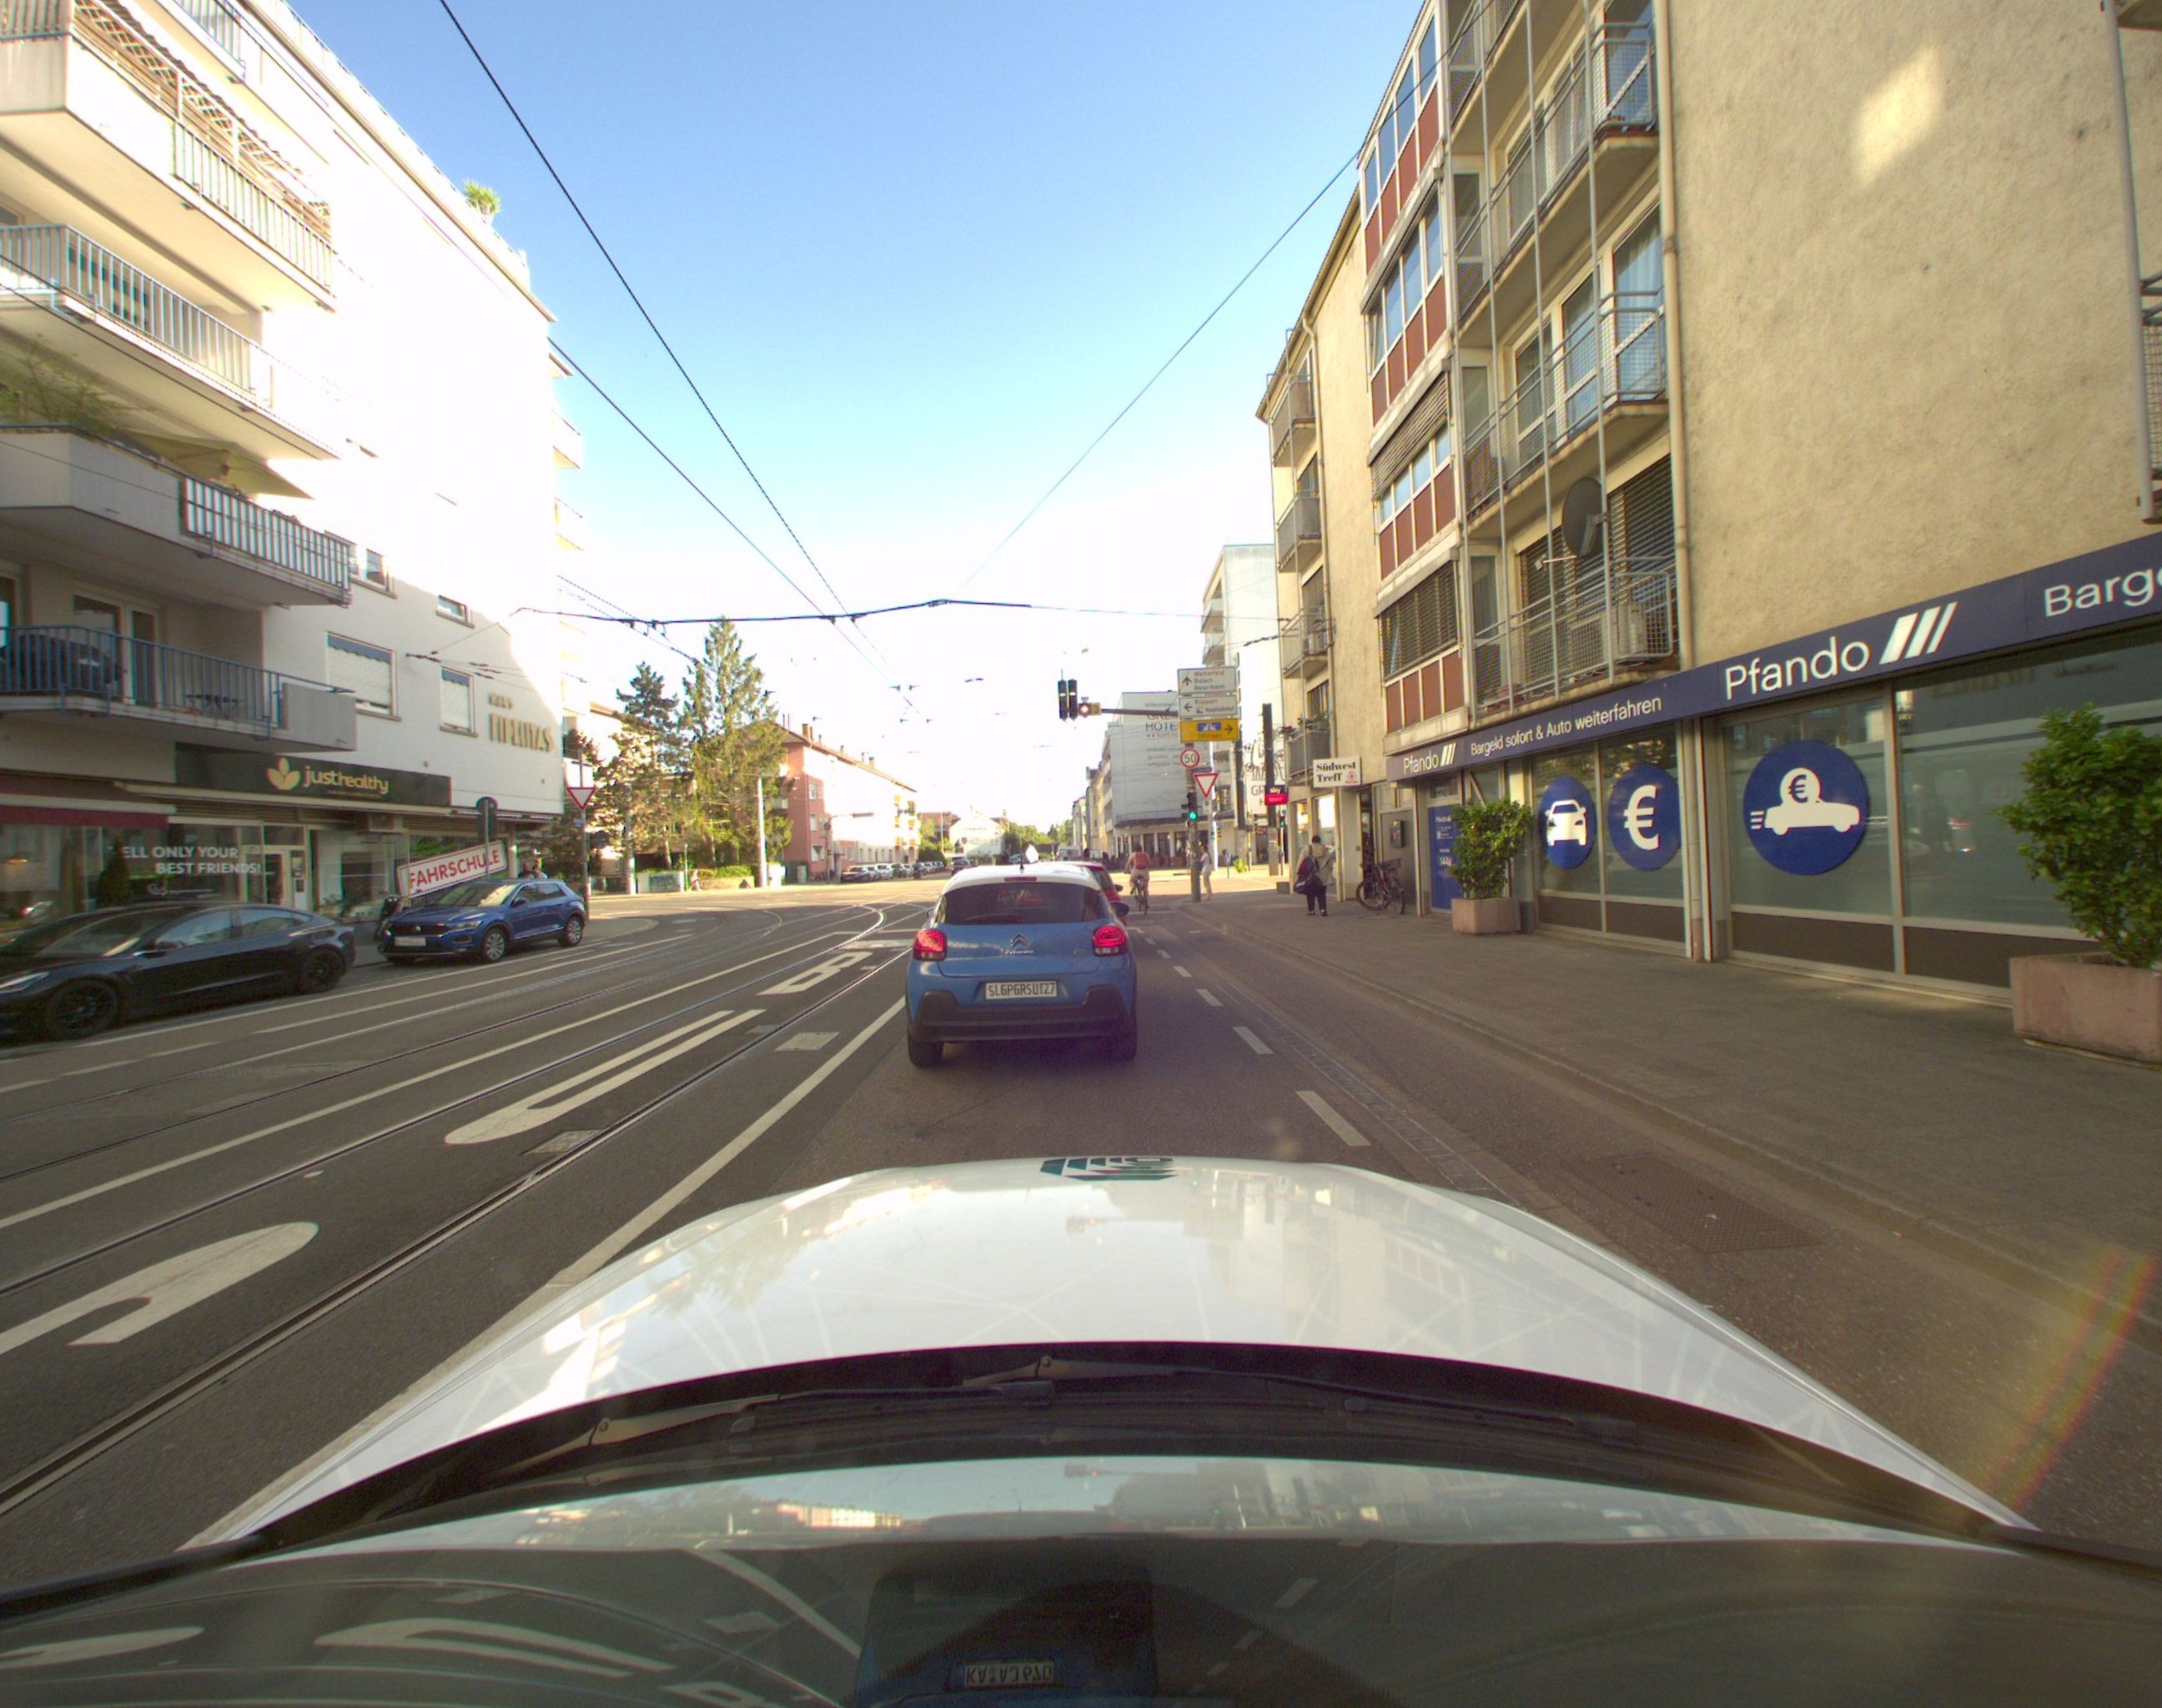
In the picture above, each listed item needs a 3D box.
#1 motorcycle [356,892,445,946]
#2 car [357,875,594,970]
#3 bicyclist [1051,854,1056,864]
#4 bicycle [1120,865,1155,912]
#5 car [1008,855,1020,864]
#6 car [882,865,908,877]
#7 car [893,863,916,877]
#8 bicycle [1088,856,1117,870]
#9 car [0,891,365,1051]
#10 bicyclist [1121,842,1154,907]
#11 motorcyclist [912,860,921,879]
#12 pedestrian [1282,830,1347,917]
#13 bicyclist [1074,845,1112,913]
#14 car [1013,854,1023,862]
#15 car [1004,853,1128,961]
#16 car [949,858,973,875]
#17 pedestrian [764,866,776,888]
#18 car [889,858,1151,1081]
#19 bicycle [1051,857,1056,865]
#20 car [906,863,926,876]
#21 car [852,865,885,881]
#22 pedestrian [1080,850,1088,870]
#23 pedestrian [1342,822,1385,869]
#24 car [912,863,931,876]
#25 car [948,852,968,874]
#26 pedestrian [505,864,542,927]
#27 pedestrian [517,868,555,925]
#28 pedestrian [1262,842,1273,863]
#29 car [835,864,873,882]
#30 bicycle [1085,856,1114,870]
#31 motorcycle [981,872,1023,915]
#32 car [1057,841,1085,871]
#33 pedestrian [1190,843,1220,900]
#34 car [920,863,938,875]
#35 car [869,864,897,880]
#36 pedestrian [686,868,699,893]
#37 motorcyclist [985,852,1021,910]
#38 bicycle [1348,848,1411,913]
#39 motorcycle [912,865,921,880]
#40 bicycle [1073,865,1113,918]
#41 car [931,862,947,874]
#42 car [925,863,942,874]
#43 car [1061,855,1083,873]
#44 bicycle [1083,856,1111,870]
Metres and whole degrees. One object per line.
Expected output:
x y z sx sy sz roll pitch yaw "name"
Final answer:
-15.820 1.485 18.995 0.605 1.134 1.795 0 -1 -2 "motorcycle"
-11.830 1.253 16.346 1.765 1.503 4.233 0 1 -4 "car"
-5.306 0.961 156.783 0.787 2.024 0.987 0 -1 3 "bicyclist"
1.526 0.880 21.678 0.807 1.181 2.068 0 -1 6 "bicycle"
-14.065 1.206 170.586 2.212 1.932 4.946 0 -1 -1 "car"
-19.777 1.765 86.720 1.942 1.239 4.279 0 0 -2 "car"
-20.059 1.823 92.730 1.865 1.576 3.995 0 -1 -3 "car"
1.766 0.742 65.931 2.246 1.001 0.855 -4 0 -4 "bicycle"
-12.005 1.302 10.427 1.764 1.475 4.443 0 0 -1 "car"
1.513 0.531 21.661 0.807 1.692 0.937 0 -1 6 "bicyclist"
-13.643 1.280 67.530 0.694 1.497 0.681 -2 -2 -12 "motorcyclist"
4.597 0.373 16.081 0.883 1.592 0.809 -5 1 -7 "pedestrian"
0.299 0.627 20.681 0.937 1.673 1.079 0 -1 0 "bicyclist"
-14.551 0.963 188.447 2.068 1.762 5.034 0 0 -1 "car"
-0.298 0.753 13.605 1.780 1.521 3.758 0 0 -3 "car"
-11.317 1.191 76.837 1.775 1.486 3.824 -3 0 -3 "car"
-22.592 1.671 59.167 0.566 1.568 0.521 -1 -1 34 "pedestrian"
-0.472 0.785 7.323 1.732 1.452 3.659 -1 0 -2 "car"
-5.303 1.362 156.776 0.787 1.670 2.232 0 -1 3 "bicycle"
-20.004 1.872 98.793 1.865 1.576 3.995 0 -1 -3 "car"
-19.400 1.696 74.467 1.897 1.436 4.102 0 0 0 "car"
0.250 0.520 69.814 0.611 1.654 0.671 0 -1 0 "pedestrian"
6.685 -0.197 19.267 0.627 1.087 0.672 -3 1 -35 "pedestrian"
-20.216 1.910 103.419 1.865 1.576 3.995 0 -1 -3 "car"
-18.053 1.264 119.786 2.411 3.142 3.487 0 -1 -1 "car"
-17.231 1.279 25.194 0.568 1.900 0.742 -2 -3 16 "pedestrian"
-18.032 1.396 26.932 0.732 1.792 0.663 -2 0 5 "pedestrian"
14.404 -0.087 62.932 0.604 1.608 0.673 -1 -1 29 "pedestrian"
-19.372 1.626 69.682 2.149 1.432 4.435 0 -2 -3 "car"
1.536 0.745 67.304 2.246 1.001 0.855 -4 0 -4 "bicycle"
-2.040 1.006 21.377 0.852 1.047 1.943 0 -1 2 "motorcycle"
-0.967 0.191 73.026 2.260 2.482 5.002 -1 0 -3 "car"
3.687 0.513 24.219 0.534 1.623 0.737 -7 -3 23 "pedestrian"
-20.238 1.950 108.274 1.865 1.576 3.995 0 -1 -3 "car"
-19.411 1.714 79.945 1.737 1.526 4.227 0 -1 -1 "car"
-27.209 1.822 57.075 0.785 1.722 0.699 0 -1 -22 "pedestrian"
-2.041 0.698 21.522 0.852 1.488 0.729 0 -1 1 "motorcyclist"
5.740 0.491 15.741 0.495 1.161 1.776 -2 -1 -1 "bicycle"
-13.606 1.547 67.463 0.712 1.220 1.957 -2 -2 -11 "motorcycle"
0.303 0.908 20.406 0.937 1.223 2.094 0 -1 1 "bicycle"
-20.819 2.045 119.622 1.865 1.576 3.995 0 -1 -3 "car"
-20.579 1.994 113.442 1.865 1.576 3.995 0 -1 -3 "car"
-0.771 0.834 68.031 1.654 1.431 3.882 0 -1 -4 "car"
1.355 0.764 68.418 2.246 1.001 0.855 -4 0 -4 "bicycle"
